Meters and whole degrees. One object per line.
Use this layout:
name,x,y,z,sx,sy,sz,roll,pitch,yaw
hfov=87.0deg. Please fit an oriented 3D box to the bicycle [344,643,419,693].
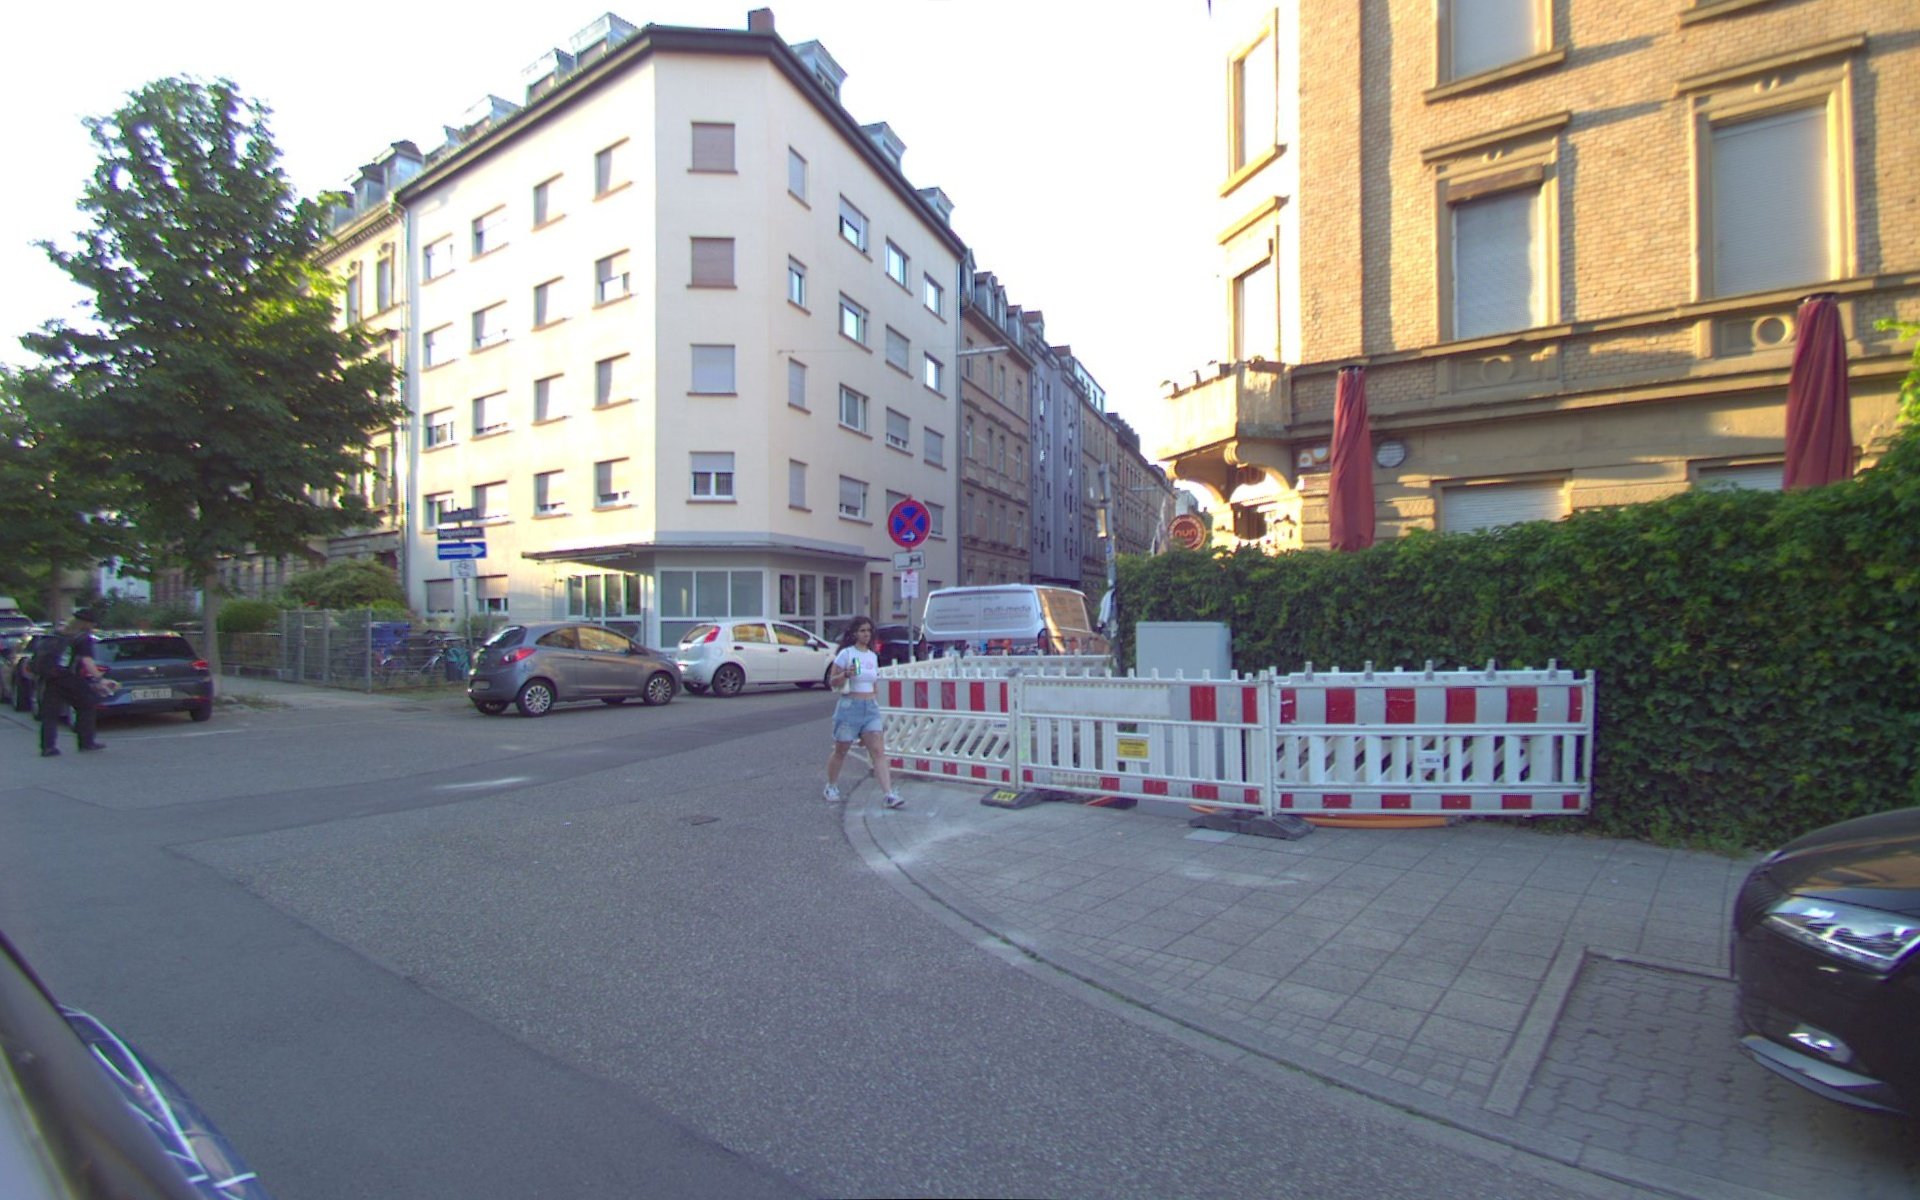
bicycle,-13.041,1.507,22.784,1.927,1.033,0.681,-1,0,34

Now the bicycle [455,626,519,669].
bicycle,-12.867,1.282,27.568,0.499,1.100,1.531,-1,0,33

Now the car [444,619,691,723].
car,-6.571,1.127,17.182,1.842,1.519,3.472,-2,-2,39

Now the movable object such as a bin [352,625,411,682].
movable object such as a bin,-14.500,1.327,25.361,1.398,1.362,0.857,-1,0,41

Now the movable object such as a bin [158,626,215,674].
movable object such as a bin,-23.331,1.493,30.527,1.548,1.398,0.937,-1,0,36

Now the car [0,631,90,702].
car,-21.274,1.437,22.707,4.585,1.423,1.843,-1,-1,39

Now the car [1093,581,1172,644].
car,4.929,0.372,28.515,1.572,1.635,3.975,-1,-2,19

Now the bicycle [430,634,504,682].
bicycle,-11.907,1.395,24.451,1.528,1.100,0.500,-1,0,2

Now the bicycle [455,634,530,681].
bicycle,-11.492,1.417,24.883,1.689,1.100,0.385,-1,0,3

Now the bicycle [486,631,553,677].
bicycle,-11.710,1.420,26.918,0.499,1.100,1.617,-1,0,33

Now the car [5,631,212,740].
car,-13.708,1.259,16.208,4.457,1.472,1.659,-1,-1,38

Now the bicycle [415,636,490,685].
bicycle,-12.000,1.426,23.936,1.528,1.100,0.500,-1,0,2

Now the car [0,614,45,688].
car,-25.133,1.285,25.898,4.617,1.792,1.843,-1,-1,39

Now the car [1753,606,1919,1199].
car,4.195,0.772,2.192,3.841,1.546,1.686,-1,-1,40

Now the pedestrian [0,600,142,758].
pedestrian,-10.317,0.881,11.716,0.879,1.735,0.958,-1,0,2

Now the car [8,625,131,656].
car,-43.684,1.973,49.741,1.624,1.351,4.357,-1,-1,40

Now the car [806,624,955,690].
car,-1.832,1.337,24.670,1.985,1.450,4.048,-2,-2,23

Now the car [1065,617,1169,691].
car,3.769,1.225,23.805,2.004,1.583,3.900,-1,-2,15

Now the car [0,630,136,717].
car,-17.314,1.319,19.414,4.141,1.431,1.723,-1,-1,42

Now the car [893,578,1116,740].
car,0.916,0.797,15.298,2.189,1.990,5.266,-1,-1,16

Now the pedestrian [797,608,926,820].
pedestrian,-0.822,0.891,8.398,0.701,1.630,0.787,-1,0,-42

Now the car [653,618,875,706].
car,-3.987,1.191,20.843,4.007,1.520,1.977,-1,0,-38
